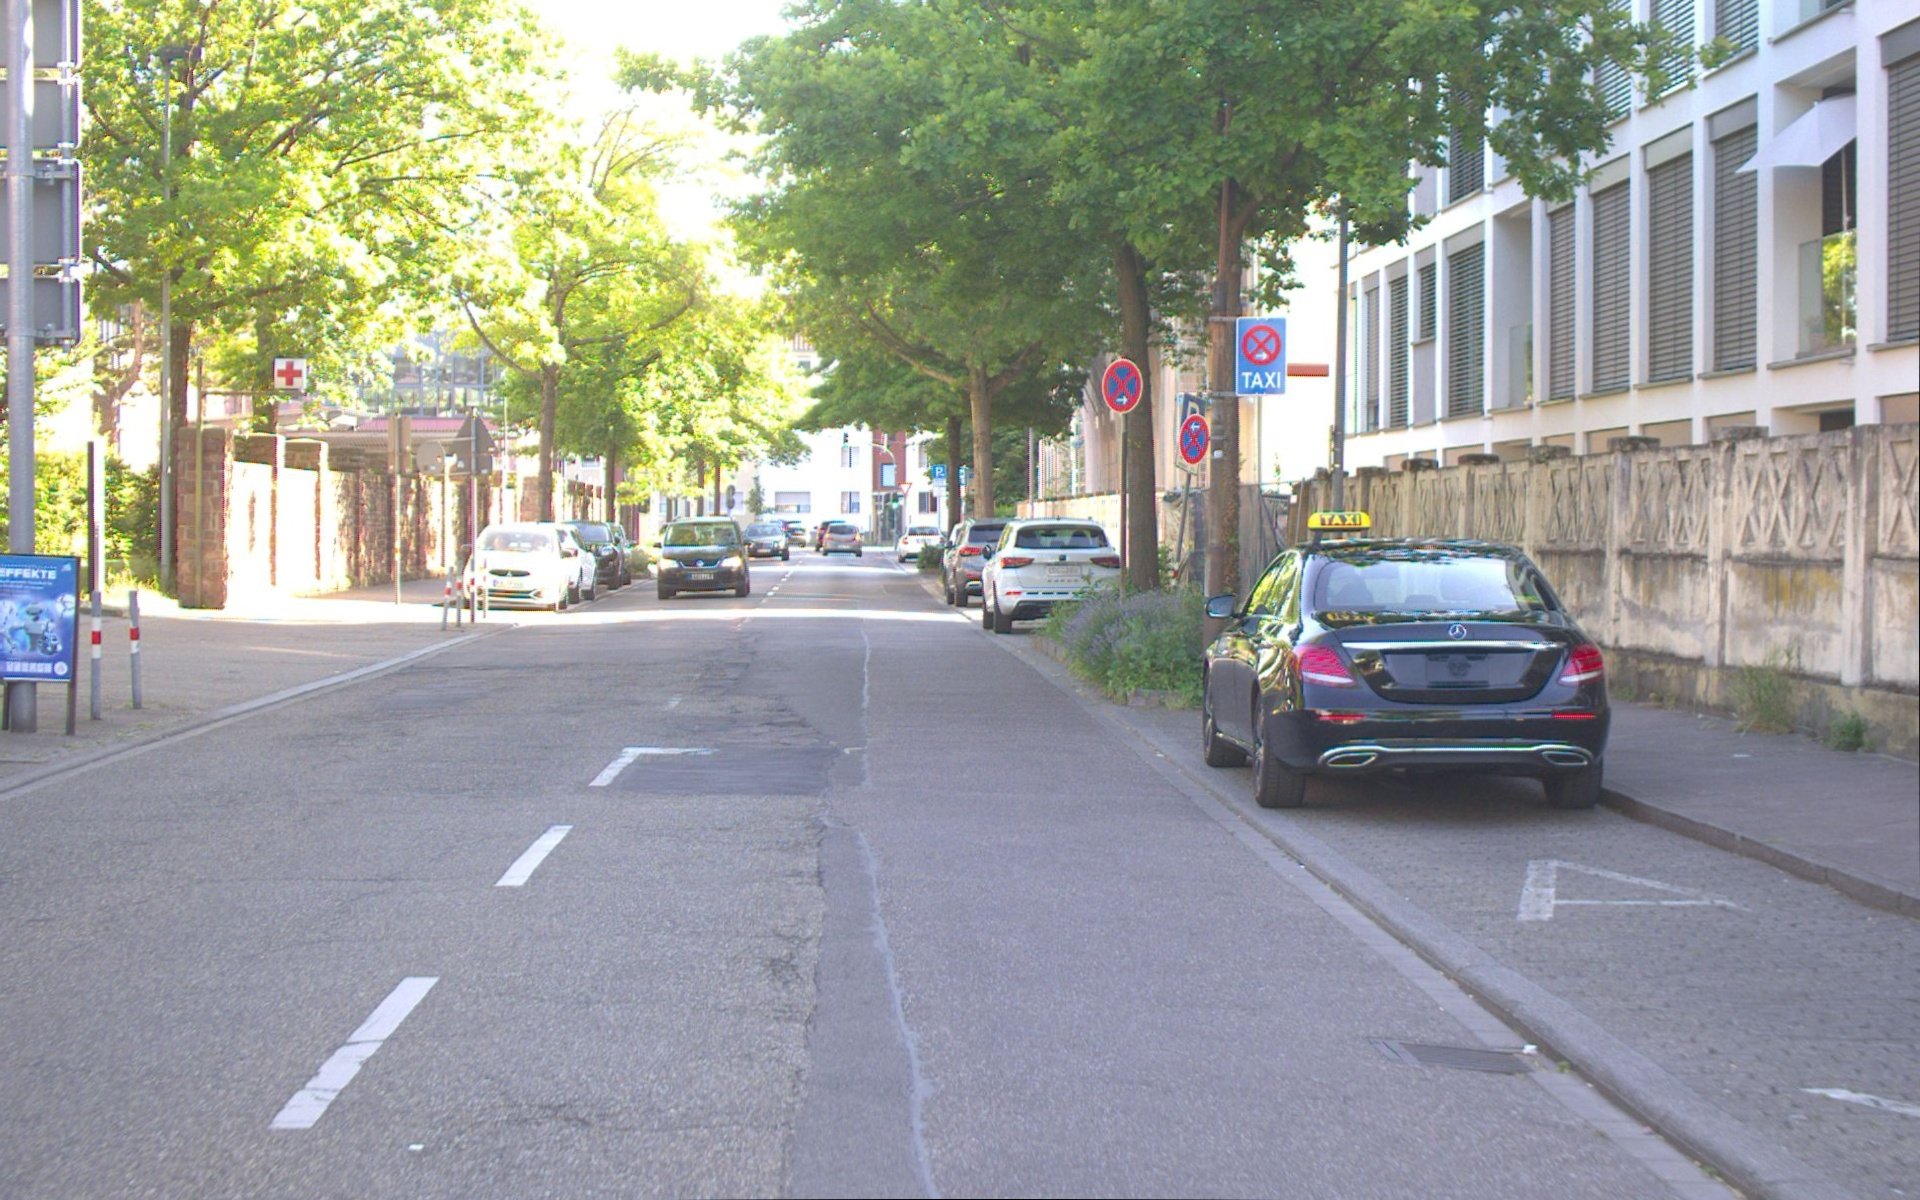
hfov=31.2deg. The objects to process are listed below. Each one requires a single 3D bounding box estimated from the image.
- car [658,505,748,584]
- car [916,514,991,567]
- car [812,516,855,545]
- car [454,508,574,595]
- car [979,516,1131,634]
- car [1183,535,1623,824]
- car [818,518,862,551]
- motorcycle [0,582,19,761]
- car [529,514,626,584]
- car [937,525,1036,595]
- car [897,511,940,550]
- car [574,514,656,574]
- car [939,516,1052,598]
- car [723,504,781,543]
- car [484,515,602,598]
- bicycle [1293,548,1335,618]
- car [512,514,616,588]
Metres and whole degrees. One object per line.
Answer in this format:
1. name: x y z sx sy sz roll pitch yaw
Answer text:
1. car: -5.141 -1.138 69.140 1.653 1.525 4.001 0 2 -2
2. car: -0.194 -1.648 94.861 1.993 1.420 3.837 0 2 -1
3. car: -6.426 -3.526 174.568 1.993 1.448 4.001 0 2 -5
4. car: -7.755 -0.873 60.048 1.767 1.482 4.001 0 1 -3
5. car: 1.289 -0.384 48.271 1.950 1.572 3.837 0 2 -1
6. car: 2.383 0.362 19.450 1.767 1.435 4.001 0 1 -3
7. car: -5.250 -2.899 150.809 1.889 1.395 3.837 0 2 -1
8. motorcycle: -6.492 0.451 20.042 0.577 1.071 2.118 1 2 31
9. car: -8.674 -1.180 78.211 1.907 1.525 4.001 0 2 -2
10. car: 0.541 -0.872 73.546 1.993 1.420 3.837 0 2 -1
11. car: -1.574 -2.622 129.178 1.585 1.395 3.837 0 2 -1
12. car: -9.131 -1.503 91.266 1.907 1.525 4.001 1 1 -2
13. car: 0.634 -0.818 64.170 1.993 1.460 3.837 0 2 -1
14. car: -7.925 -2.917 131.259 1.993 1.448 4.000 0 2 0
15. car: -7.977 -0.852 66.054 1.907 1.525 4.001 0 2 -2
16. bicycle: 4.394 -0.216 42.660 0.356 0.839 1.324 0 2 -1
17. car: -8.505 -1.070 74.073 1.907 1.525 4.001 0 2 -2
